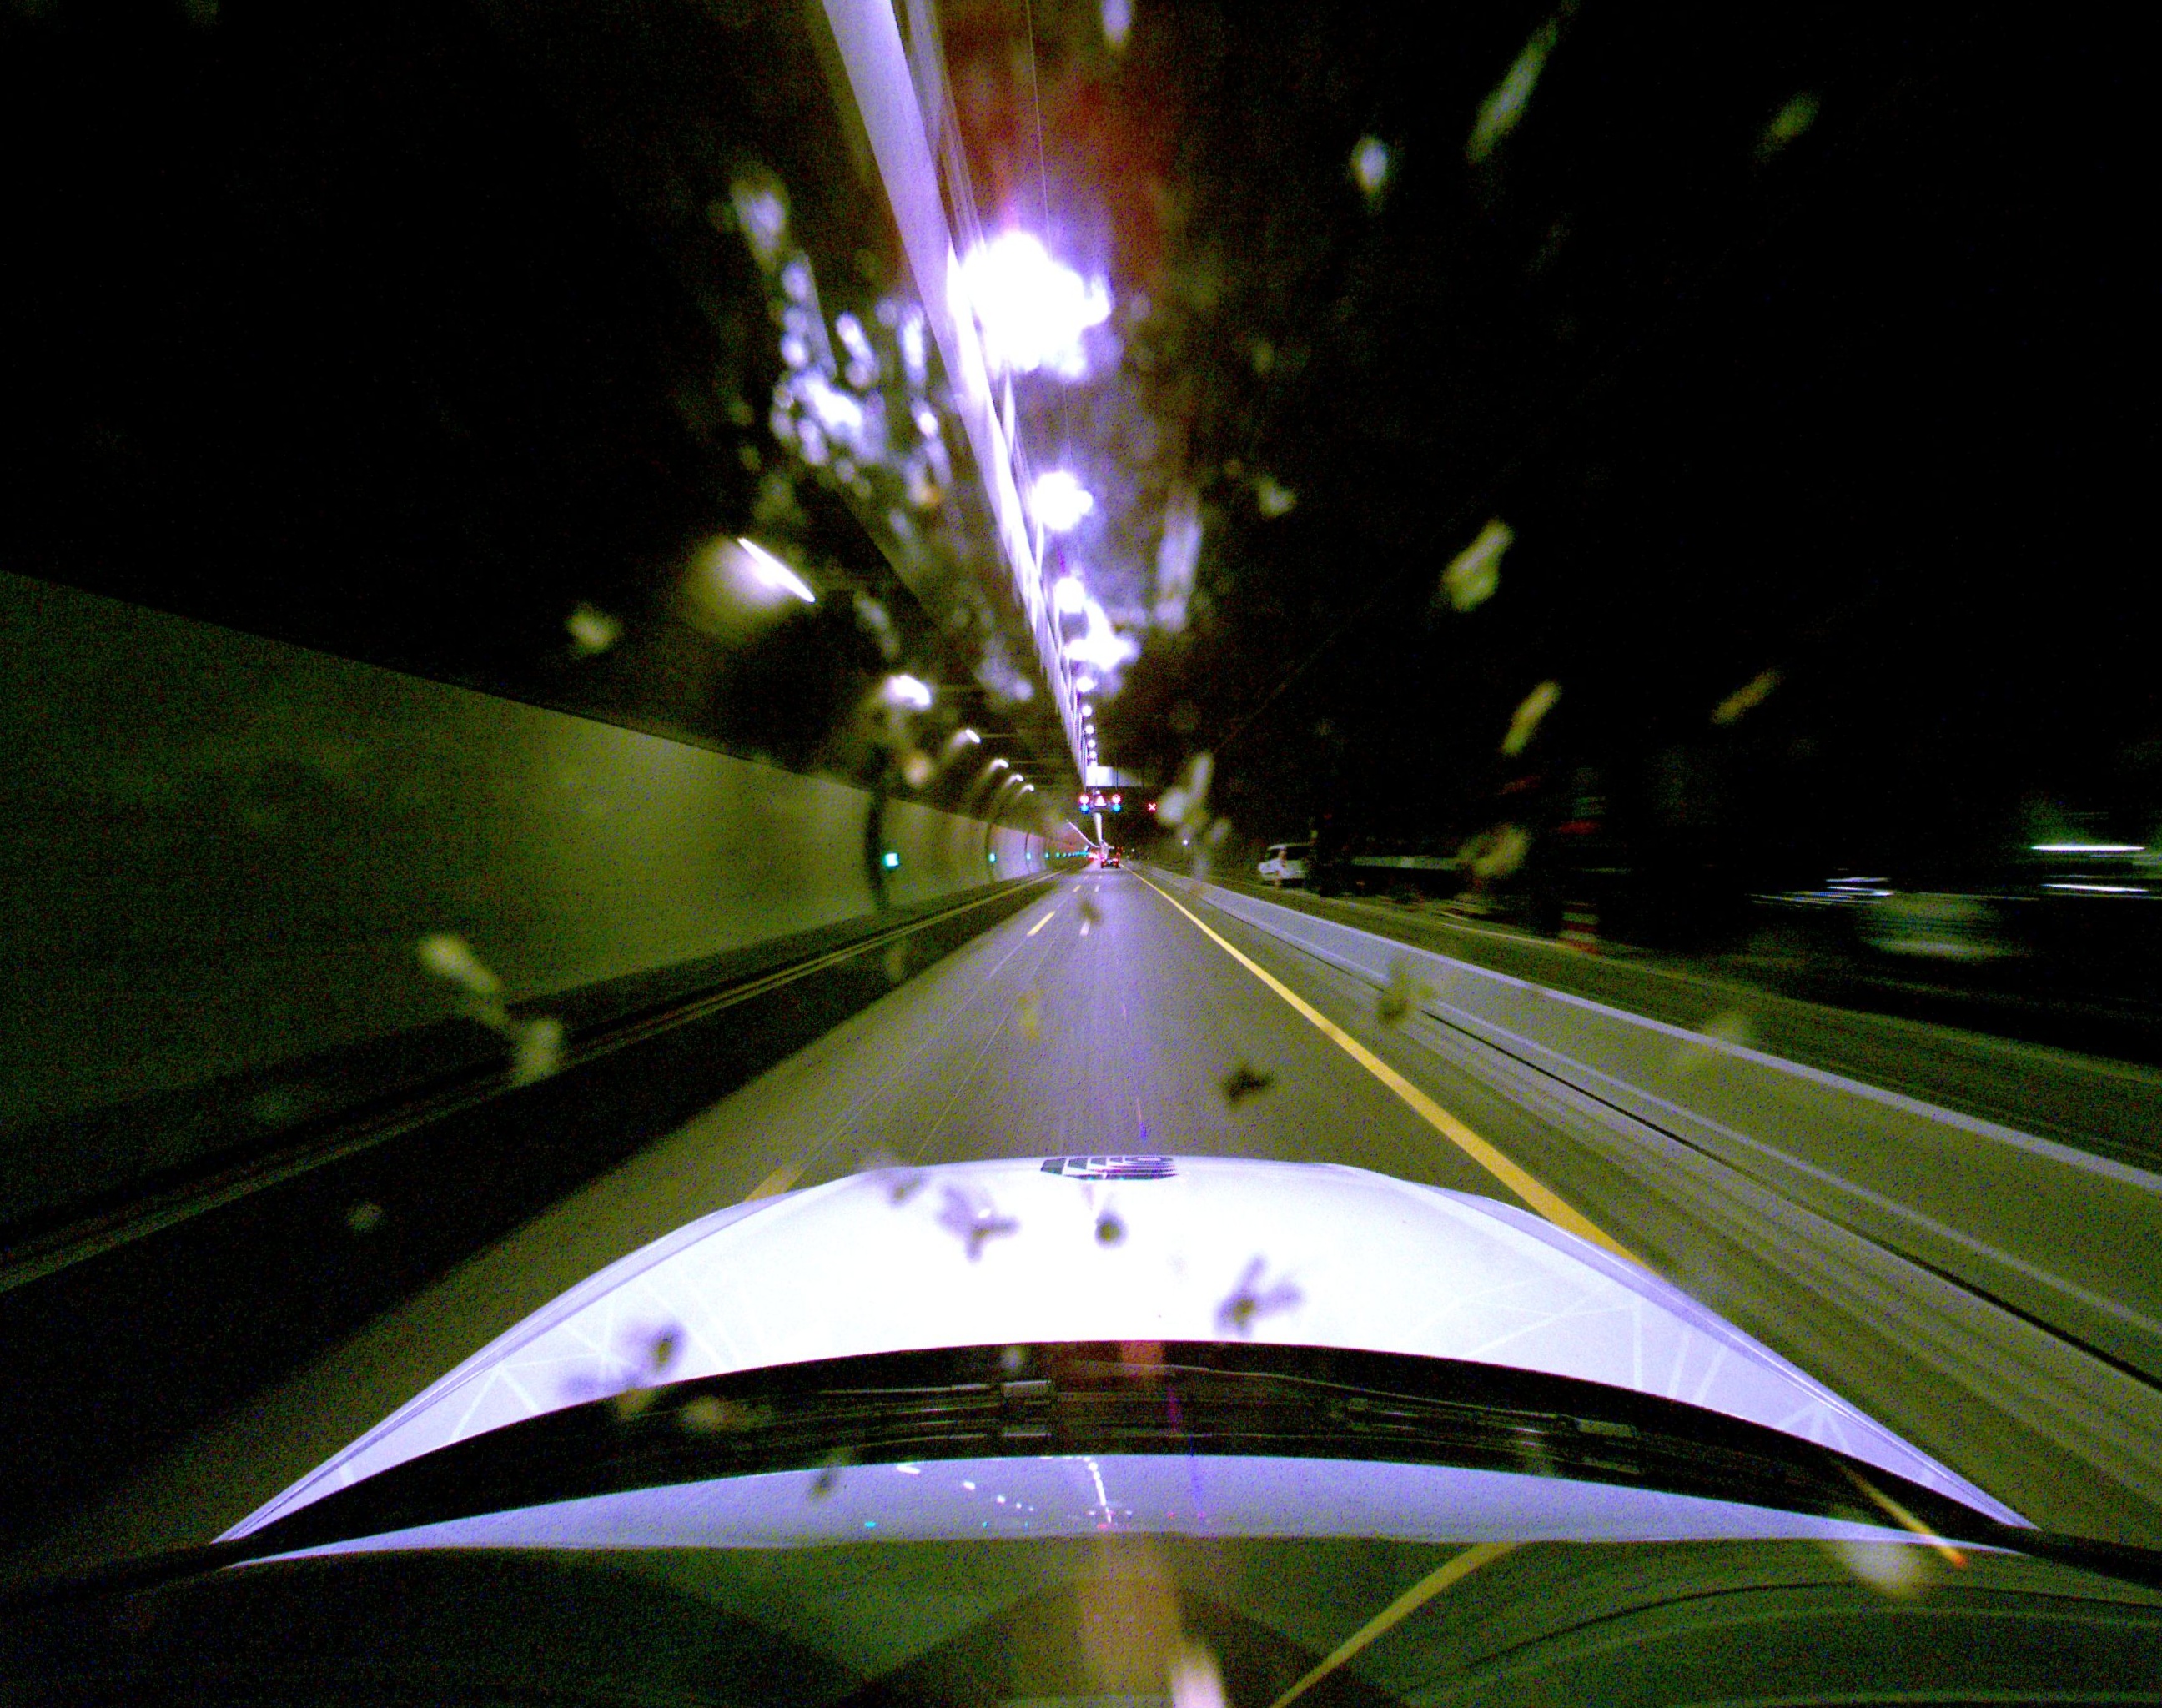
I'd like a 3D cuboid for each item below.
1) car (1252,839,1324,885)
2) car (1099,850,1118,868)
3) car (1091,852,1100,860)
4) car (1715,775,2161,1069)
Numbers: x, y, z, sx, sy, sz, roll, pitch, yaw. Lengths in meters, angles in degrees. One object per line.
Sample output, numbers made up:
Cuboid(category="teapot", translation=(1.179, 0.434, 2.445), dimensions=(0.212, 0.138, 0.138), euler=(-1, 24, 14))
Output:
Cuboid(category="car", translation=(9.057, 0.323, 36.032), dimensions=(1.747, 1.845, 4.641), euler=(-2, 0, -3))
Cuboid(category="car", translation=(2.892, 0.542, 86.054), dimensions=(1.940, 1.794, 4.001), euler=(-2, 0, 1))
Cuboid(category="car", translation=(3.389, 0.476, 190.860), dimensions=(1.923, 1.687, 4.002), euler=(-2, 0, 2))
Cuboid(category="car", translation=(7.760, 0.416, 6.117), dimensions=(1.821, 1.858, 5.442), euler=(-1, 0, 1))
